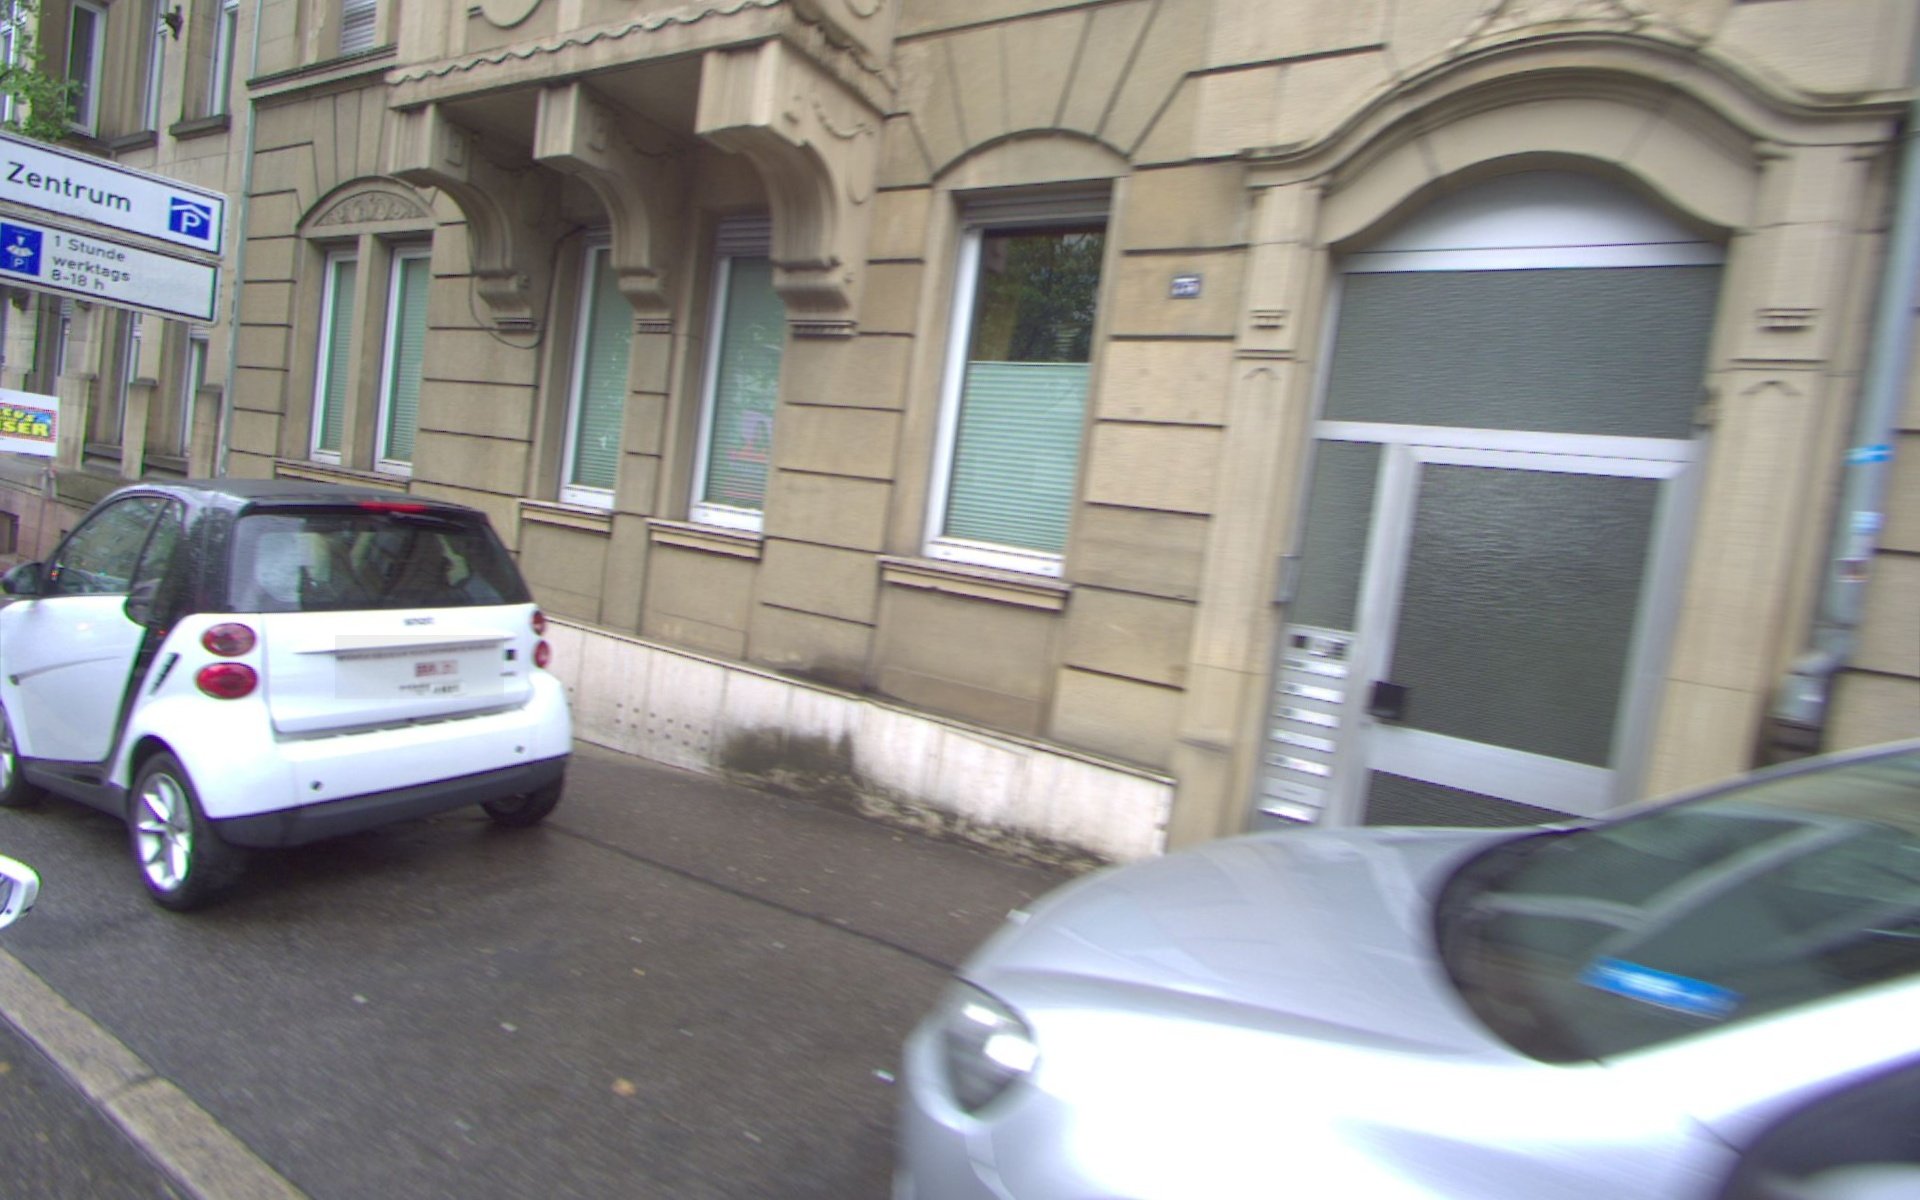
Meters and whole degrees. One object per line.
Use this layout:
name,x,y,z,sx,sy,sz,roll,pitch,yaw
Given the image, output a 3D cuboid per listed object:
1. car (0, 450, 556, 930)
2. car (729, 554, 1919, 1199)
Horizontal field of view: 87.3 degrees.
car,-3.385,0.180,4.663,2.927,1.565,1.298,7,5,32
car,1.734,0.841,1.464,3.934,1.472,1.758,7,5,32
